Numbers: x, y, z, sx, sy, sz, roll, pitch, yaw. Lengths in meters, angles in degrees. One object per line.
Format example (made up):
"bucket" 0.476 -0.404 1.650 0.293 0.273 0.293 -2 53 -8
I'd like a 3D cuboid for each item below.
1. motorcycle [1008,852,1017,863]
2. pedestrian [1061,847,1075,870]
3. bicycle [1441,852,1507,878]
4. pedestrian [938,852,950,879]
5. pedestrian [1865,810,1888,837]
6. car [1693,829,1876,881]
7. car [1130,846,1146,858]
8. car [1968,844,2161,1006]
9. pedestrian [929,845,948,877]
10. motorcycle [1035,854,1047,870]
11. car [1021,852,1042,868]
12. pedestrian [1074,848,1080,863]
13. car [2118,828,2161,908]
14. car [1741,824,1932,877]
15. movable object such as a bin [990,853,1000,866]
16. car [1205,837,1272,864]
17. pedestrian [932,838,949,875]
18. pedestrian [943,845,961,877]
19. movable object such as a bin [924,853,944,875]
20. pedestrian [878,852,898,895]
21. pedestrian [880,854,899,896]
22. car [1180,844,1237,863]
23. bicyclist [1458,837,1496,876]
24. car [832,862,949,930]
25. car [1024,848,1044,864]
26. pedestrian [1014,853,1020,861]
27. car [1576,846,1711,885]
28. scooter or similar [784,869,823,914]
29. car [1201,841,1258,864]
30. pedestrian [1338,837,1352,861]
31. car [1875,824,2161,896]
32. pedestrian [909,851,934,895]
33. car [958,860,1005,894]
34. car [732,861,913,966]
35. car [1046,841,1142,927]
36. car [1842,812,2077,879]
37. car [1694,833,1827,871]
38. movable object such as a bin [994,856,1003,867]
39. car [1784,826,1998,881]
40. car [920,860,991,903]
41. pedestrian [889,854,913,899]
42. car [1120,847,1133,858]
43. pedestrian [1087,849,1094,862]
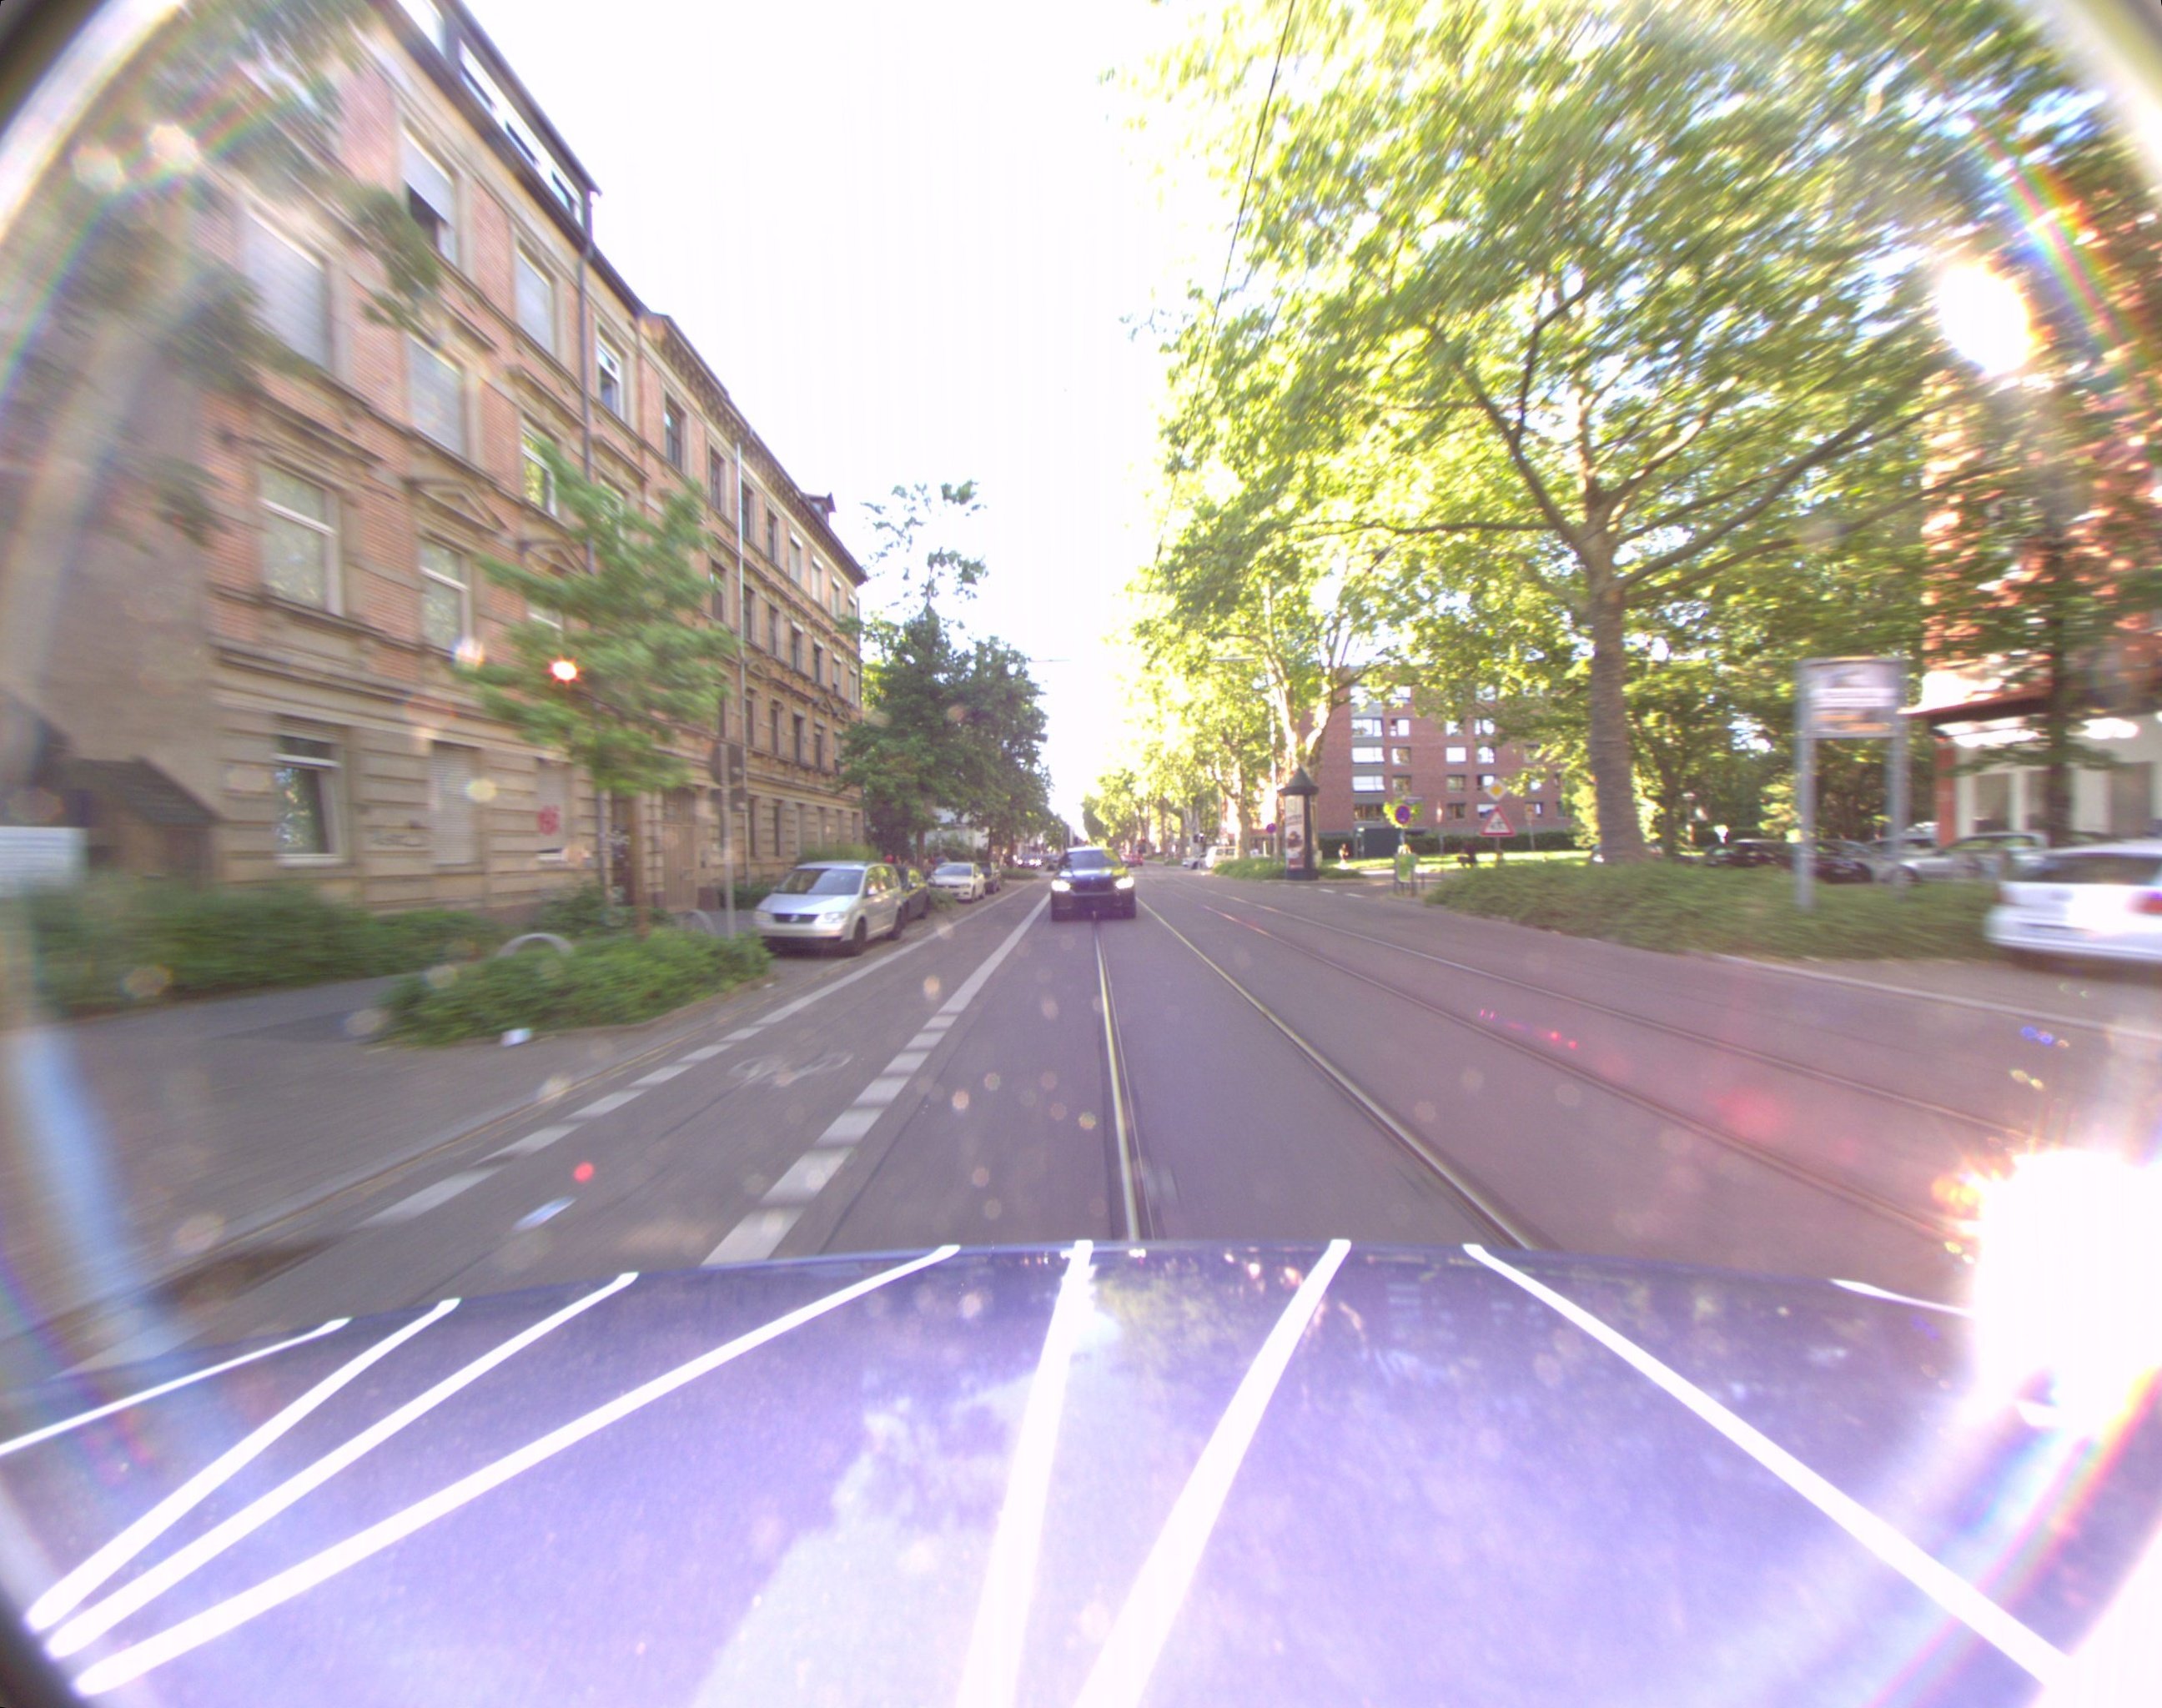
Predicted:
"motorcycle" -8.853 0.442 98.622 0.954 1.309 2.650 4 -1 -1
"pedestrian" -1.110 0.367 63.827 0.870 1.874 0.996 -2 1 -17
"bicycle" 15.705 0.414 30.440 0.971 0.993 2.580 -2 1 -9
"pedestrian" -8.901 0.745 49.387 0.620 1.716 0.553 -2 1 -15
"pedestrian" 51.914 -1.986 49.578 0.777 1.663 0.713 -2 1 17
"car" 22.249 0.017 24.261 1.818 1.484 3.996 -2 1 -9
"car" 6.874 -0.230 91.915 1.665 1.435 3.473 -2 1 1
"car" 11.852 0.633 7.788 3.427 1.456 1.697 -2 1 3
"pedestrian" -8.011 0.391 42.718 0.727 1.783 0.969 1 1 11
"motorcycle" -3.928 0.797 75.009 1.054 1.446 2.208 -2 1 1
"car" -5.220 0.579 80.070 1.766 1.612 4.442 1 0 2
"pedestrian" -0.465 0.192 95.747 0.493 1.760 0.704 -2 1 16
"car" 21.003 0.250 12.681 1.952 1.478 4.000 -2 1 1
"car" 24.400 -0.125 24.776 2.000 1.517 3.996 -2 1 -9
"movable object such as a bin" -9.172 0.592 81.201 1.002 1.389 0.824 0 1 -1
"car" 11.847 -0.249 57.358 4.582 1.823 1.938 -2 1 -1
"pedestrian" -6.918 0.118 37.474 0.728 1.783 0.600 -2 1 -9
"pedestrian" -7.272 0.396 42.804 0.727 1.783 0.854 1 1 11
"movable object such as a bin" -8.061 0.545 41.668 0.640 1.195 1.306 1 1 11
"pedestrian" -8.172 0.801 32.214 0.600 1.783 0.728 -2 1 -1
"pedestrian" -8.255 0.890 32.814 0.600 1.783 0.728 -2 1 -2
"car" 11.418 -0.055 68.272 4.776 1.452 1.954 -2 1 -1
"bicyclist" 15.765 0.102 30.264 0.802 1.498 1.116 -2 1 -10
"car" -4.868 1.017 20.118 1.888 1.458 4.593 1 1 1
"car" -5.724 0.223 92.403 1.998 1.885 4.194 1 0 3
"pedestrian" -9.038 0.431 107.639 0.680 1.198 0.648 -2 1 -10
"car" 24.050 0.469 32.557 4.540 1.480 1.859 -2 1 -5
"scooter or similar" -8.212 1.087 22.506 0.577 1.239 1.335 -2 1 2
"car" 11.879 -0.119 60.941 4.150 1.637 1.902 -2 1 -1
"pedestrian" 18.878 -0.359 54.332 0.711 1.663 0.779 -2 1 0
"car" 21.089 0.106 17.323 1.952 1.399 3.892 -2 1 1
"pedestrian" -6.231 0.741 29.749 0.728 1.683 0.956 -2 1 -1
"car" -4.508 1.018 34.978 1.677 1.404 3.842 1 1 -1
"car" -4.602 0.968 14.281 1.889 1.559 4.241 1 1 1
"car" 0.349 0.614 18.408 1.937 1.718 5.073 -3 1 2
"car" 29.396 -0.264 25.733 2.000 1.992 4.917 -2 1 -7
"car" 29.698 -0.098 33.261 4.482 1.441 1.822 -2 1 -7
"movable object such as a bin" -8.597 0.817 79.036 0.883 1.104 0.697 0 1 -1
"car" 26.553 -0.024 25.190 2.000 1.608 4.555 -2 1 -7
"car" -4.600 0.967 28.451 1.889 1.360 4.106 1 1 1
"pedestrian" -7.052 0.874 29.781 0.728 1.699 0.856 -2 1 -3
"car" 6.944 -0.239 115.326 1.820 1.559 4.116 0 1 1
"pedestrian" 1.271 0.181 100.729 0.836 1.703 0.640 -2 1 2
